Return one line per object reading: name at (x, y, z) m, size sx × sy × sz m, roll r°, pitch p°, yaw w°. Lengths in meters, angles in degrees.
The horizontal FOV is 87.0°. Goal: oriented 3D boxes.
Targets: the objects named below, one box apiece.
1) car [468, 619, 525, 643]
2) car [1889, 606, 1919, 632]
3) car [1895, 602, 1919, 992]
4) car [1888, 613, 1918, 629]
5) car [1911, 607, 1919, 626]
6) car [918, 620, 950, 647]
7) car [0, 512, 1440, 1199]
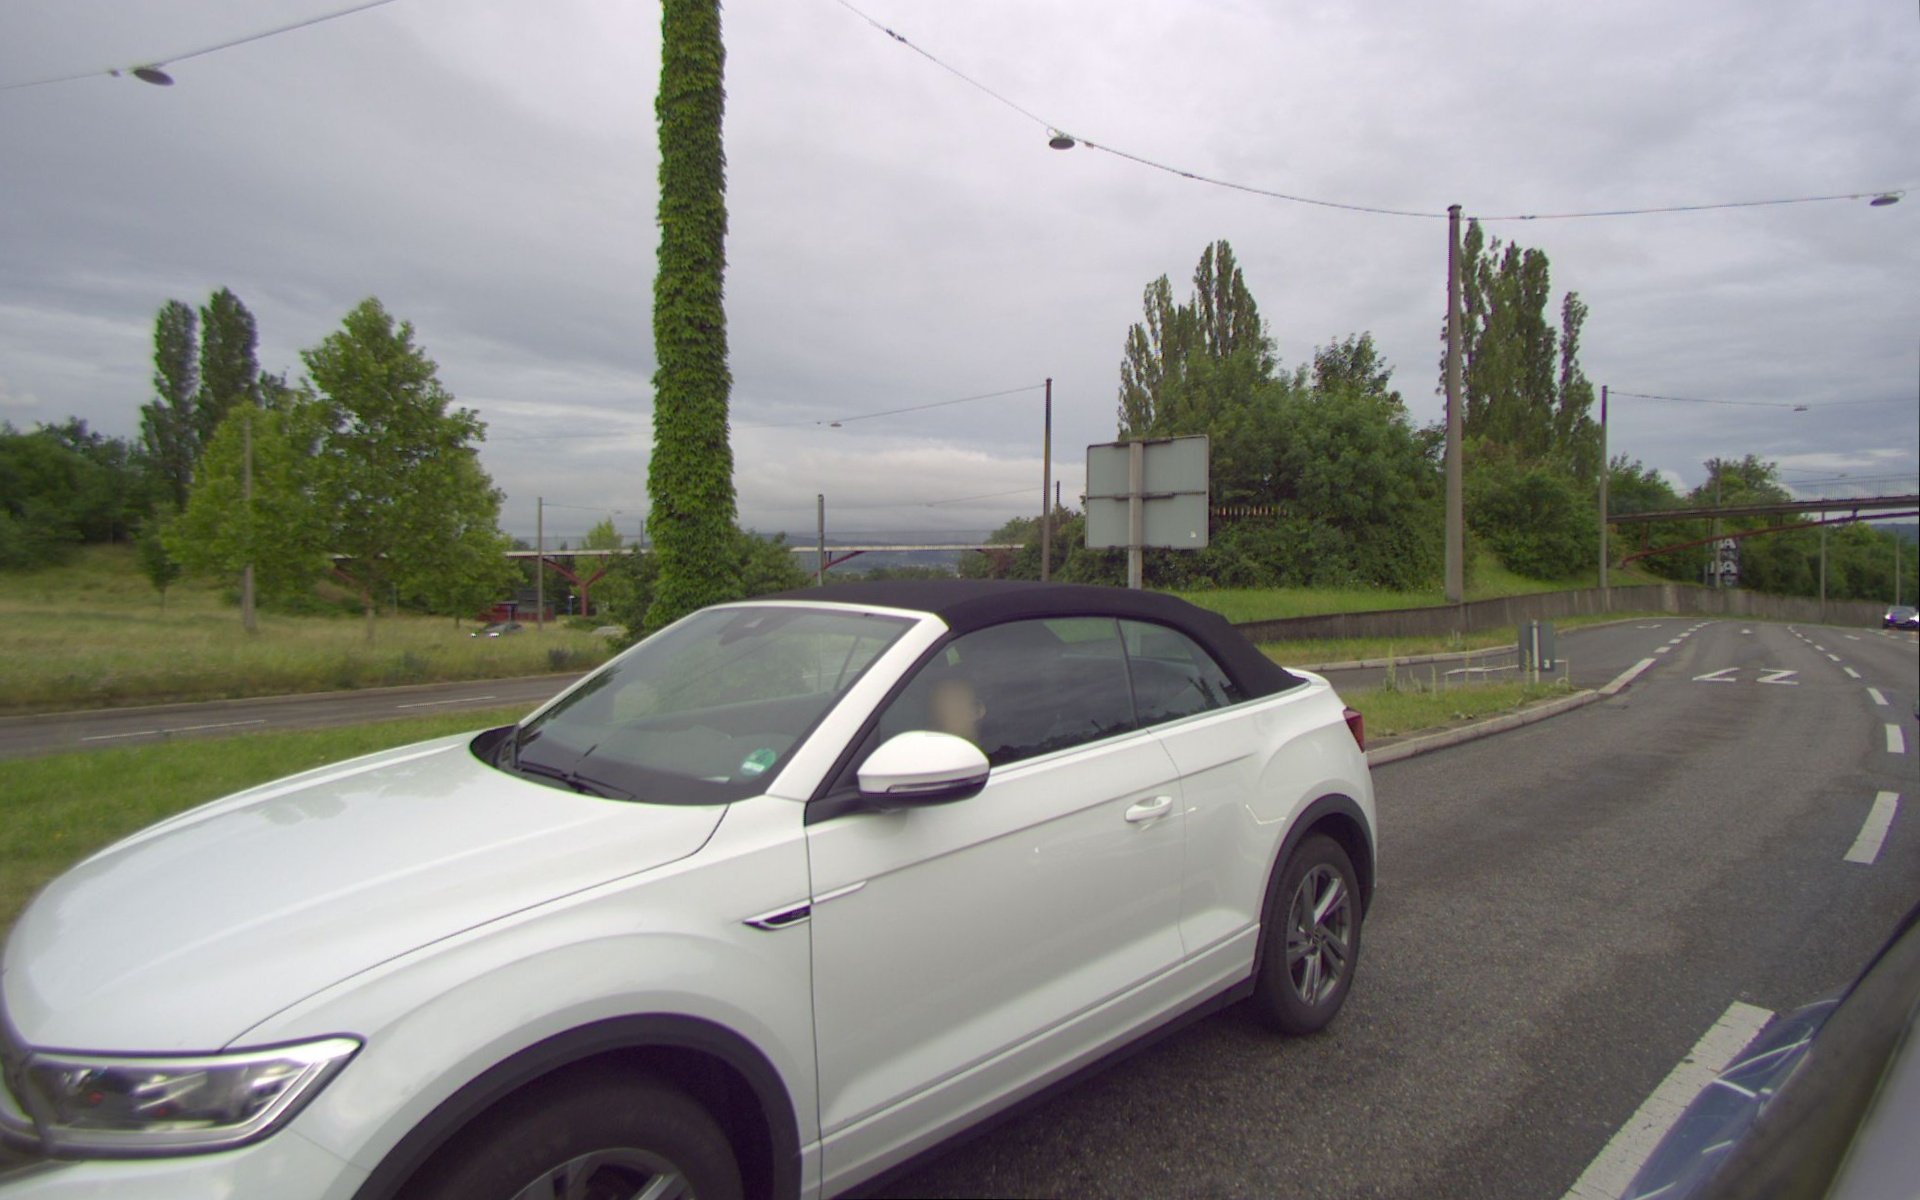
car at (-29.065, 1.920, 63.569) m, size 1.571 × 1.428 × 3.954 m, roll -1°, pitch -2°, yaw 4°
car at (64.784, 1.297, 68.786) m, size 3.929 × 1.700 × 1.909 m, roll 0°, pitch -3°, yaw -40°
car at (5.559, 0.690, 4.129) m, size 4.059 × 1.385 × 1.895 m, roll -1°, pitch 1°, yaw -37°
car at (98.047, 2.178, 105.224) m, size 3.933 × 1.683 × 1.995 m, roll 1°, pitch -3°, yaw -43°
car at (84.653, 1.423, 88.646) m, size 1.906 × 1.700 × 3.936 m, roll -3°, pitch -3°, yaw 44°
car at (-1.904, 2.391, 72.731) m, size 1.960 × 1.872 × 4.826 m, roll -1°, pitch -2°, yaw -5°
car at (-0.308, 0.649, 3.033) m, size 4.157 × 1.572 × 1.715 m, roll -1°, pitch 1°, yaw -42°
